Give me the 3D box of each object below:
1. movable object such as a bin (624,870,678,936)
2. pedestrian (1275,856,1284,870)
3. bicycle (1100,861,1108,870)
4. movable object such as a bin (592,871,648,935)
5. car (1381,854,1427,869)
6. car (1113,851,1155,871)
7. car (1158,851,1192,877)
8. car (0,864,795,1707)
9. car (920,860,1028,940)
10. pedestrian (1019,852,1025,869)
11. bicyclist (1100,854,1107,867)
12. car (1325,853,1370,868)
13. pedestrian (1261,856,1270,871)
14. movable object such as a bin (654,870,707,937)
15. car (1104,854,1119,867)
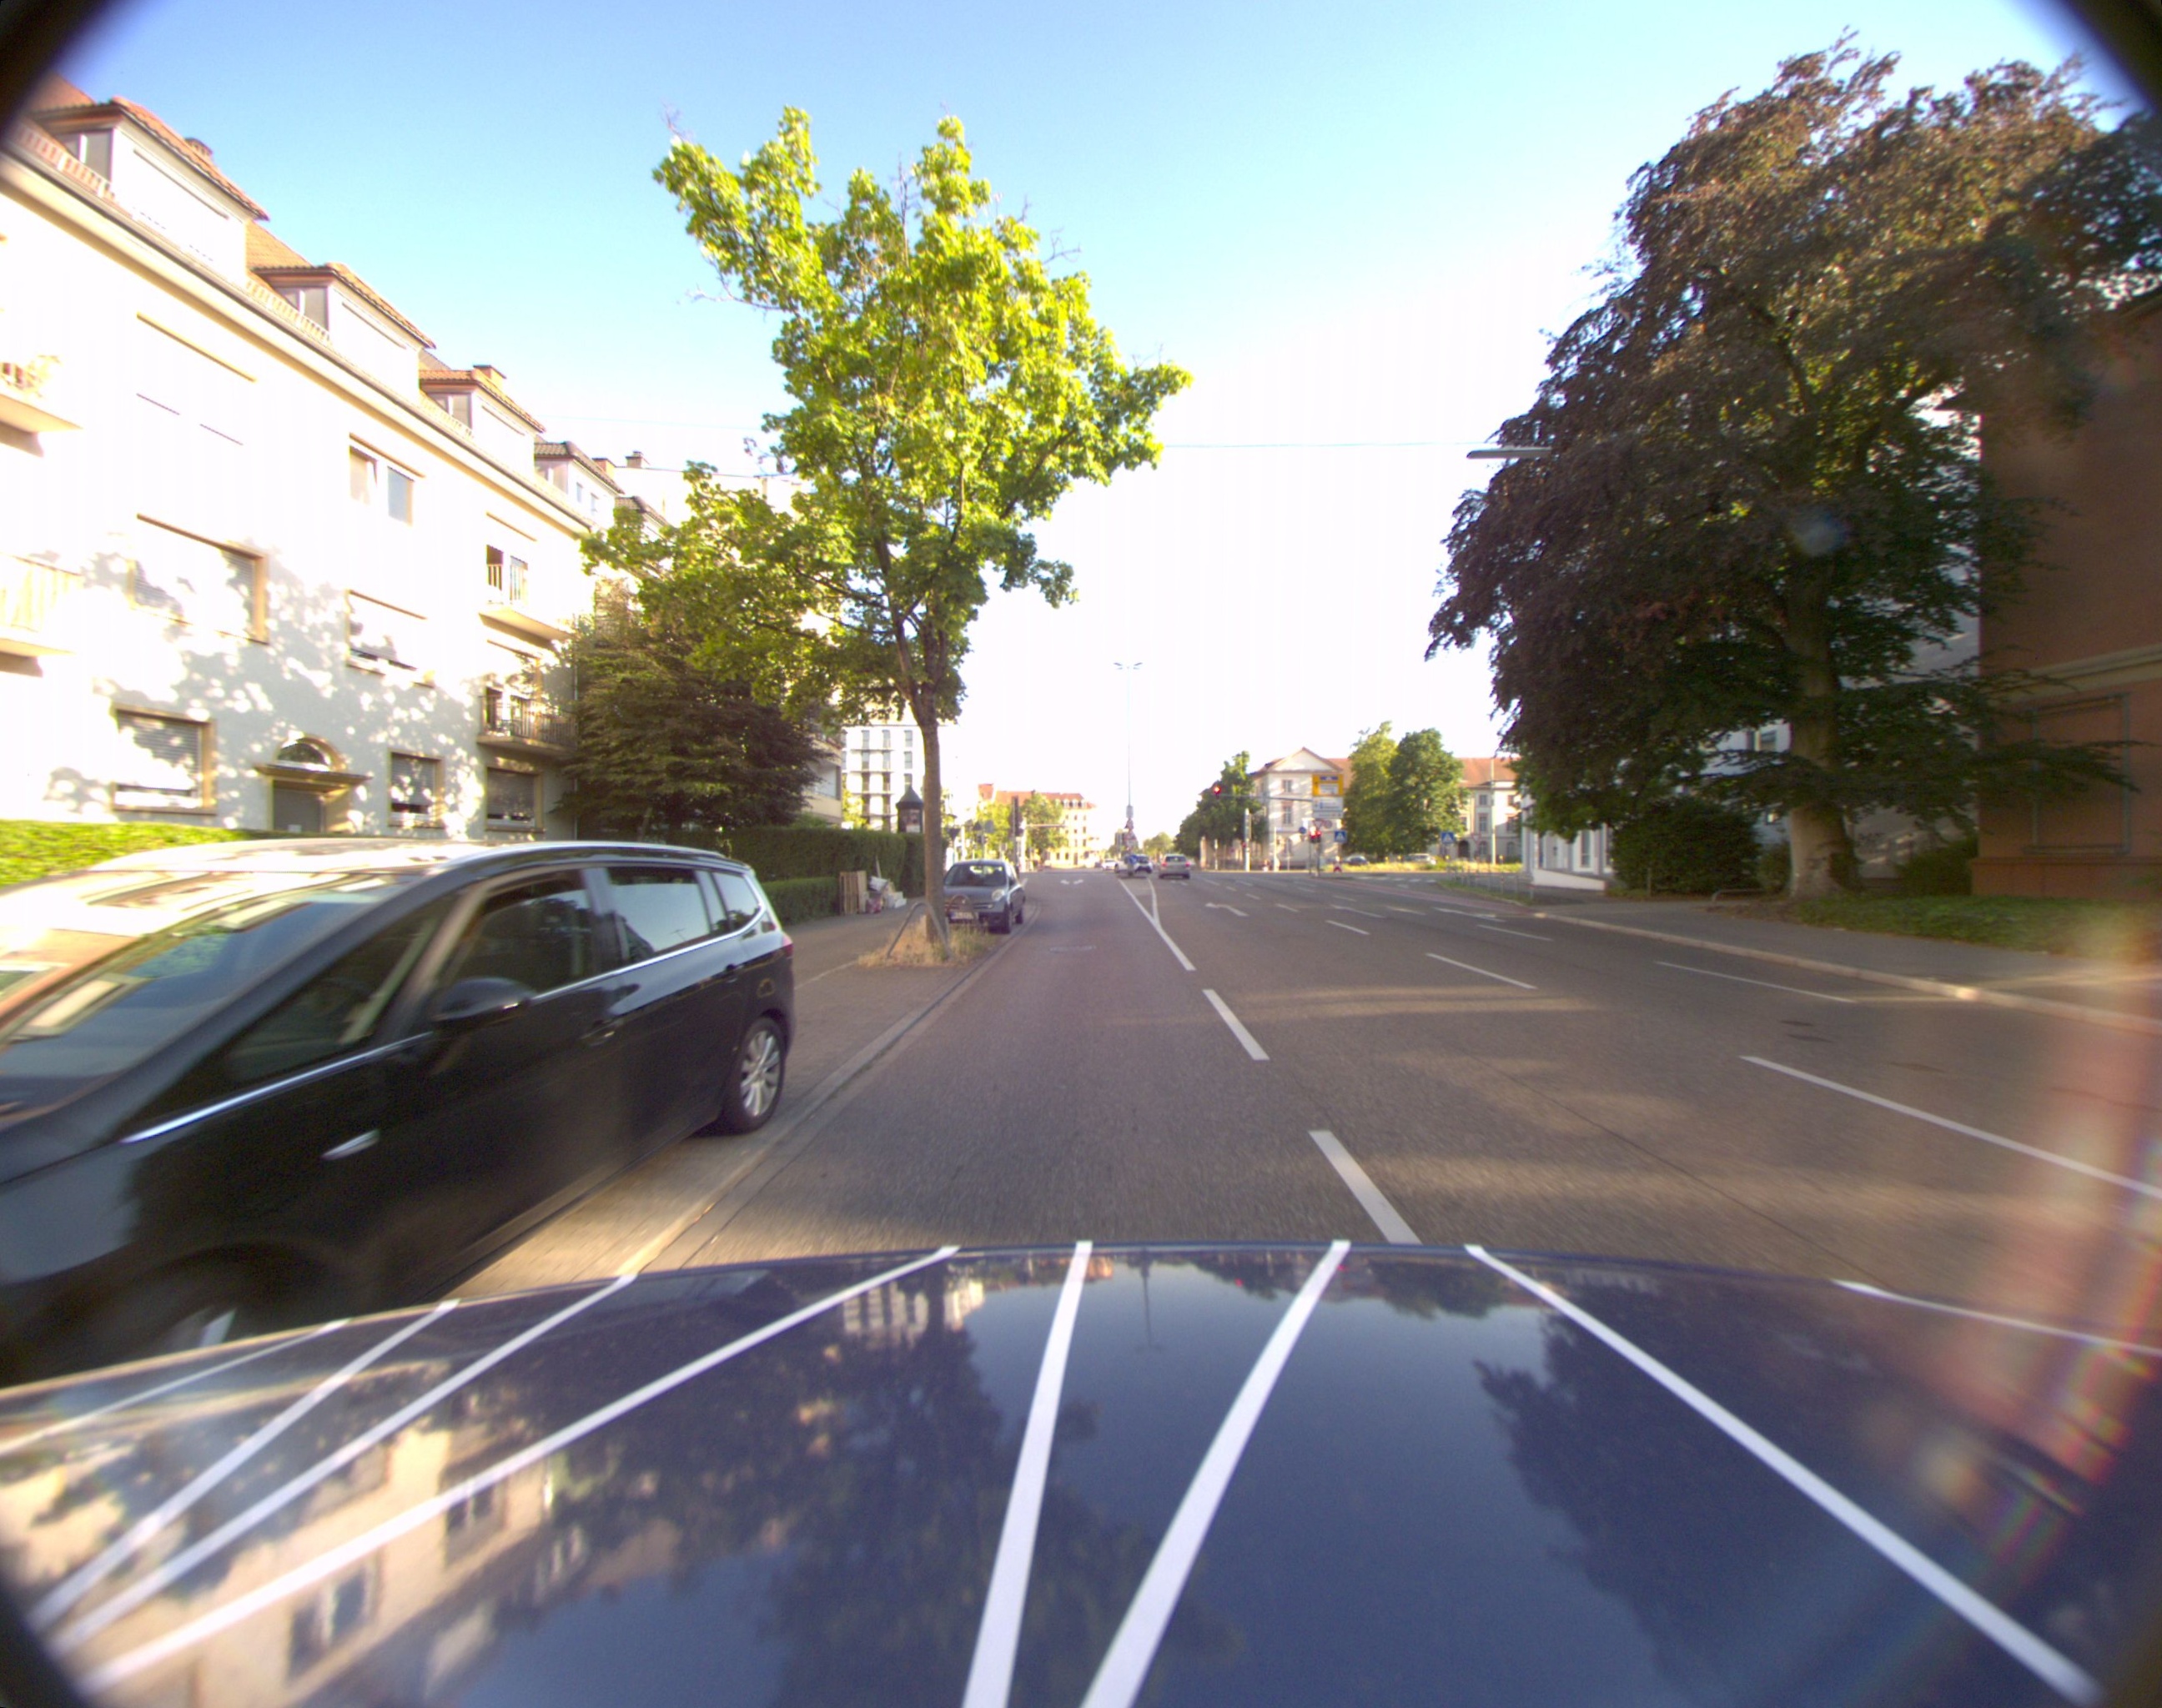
[{"bbox_3d":[-8.316,0.933,14.708,0.554,1.213,0.828,0,0,2],"label":"movable object such as a bin"},{"bbox_3d":[22.207,1.003,85.080,0.678,1.641,0.882,0,0,-7],"label":"pedestrian"},{"bbox_3d":[2.670,1.331,89.773,0.833,1.101,2.081,0,0,0],"label":"bicycle"},{"bbox_3d":[-8.920,0.928,14.740,0.554,1.195,0.828,0,0,2],"label":"movable object such as a bin"},{"bbox_3d":[31.810,0.751,74.864,3.645,1.437,2.000,0,0,-3],"label":"car"},{"bbox_3d":[4.107,0.546,59.430,1.835,1.452,3.896,0,0,-19],"label":"car"},{"bbox_3d":[5.716,0.621,46.418,1.831,1.505,4.606,0,0,4],"label":"car"},{"bbox_3d":[-2.708,0.876,2.570,1.736,1.641,4.292,0,0,2],"label":"car"},{"bbox_3d":[-2.201,0.909,16.594,1.736,1.542,3.646,0,0,2],"label":"car"},{"bbox_3d":[-6.585,0.732,85.236,0.500,1.866,0.601,0,0,-28],"label":"pedestrian"},{"bbox_3d":[2.667,0.768,89.636,0.838,1.594,1.023,0,0,0],"label":"bicyclist"},{"bbox_3d":[25.991,0.673,74.171,3.645,1.437,2.000,0,0,-3],"label":"car"},{"bbox_3d":[20.655,1.047,85.130,0.621,1.641,0.889,0,0,-7],"label":"pedestrian"},{"bbox_3d":[-7.704,0.939,14.644,0.554,1.232,0.828,0,0,2],"label":"movable object such as a bin"},{"bbox_3d":[3.747,0.819,93.955,1.764,1.489,3.708,0,0,2],"label":"car"}]
